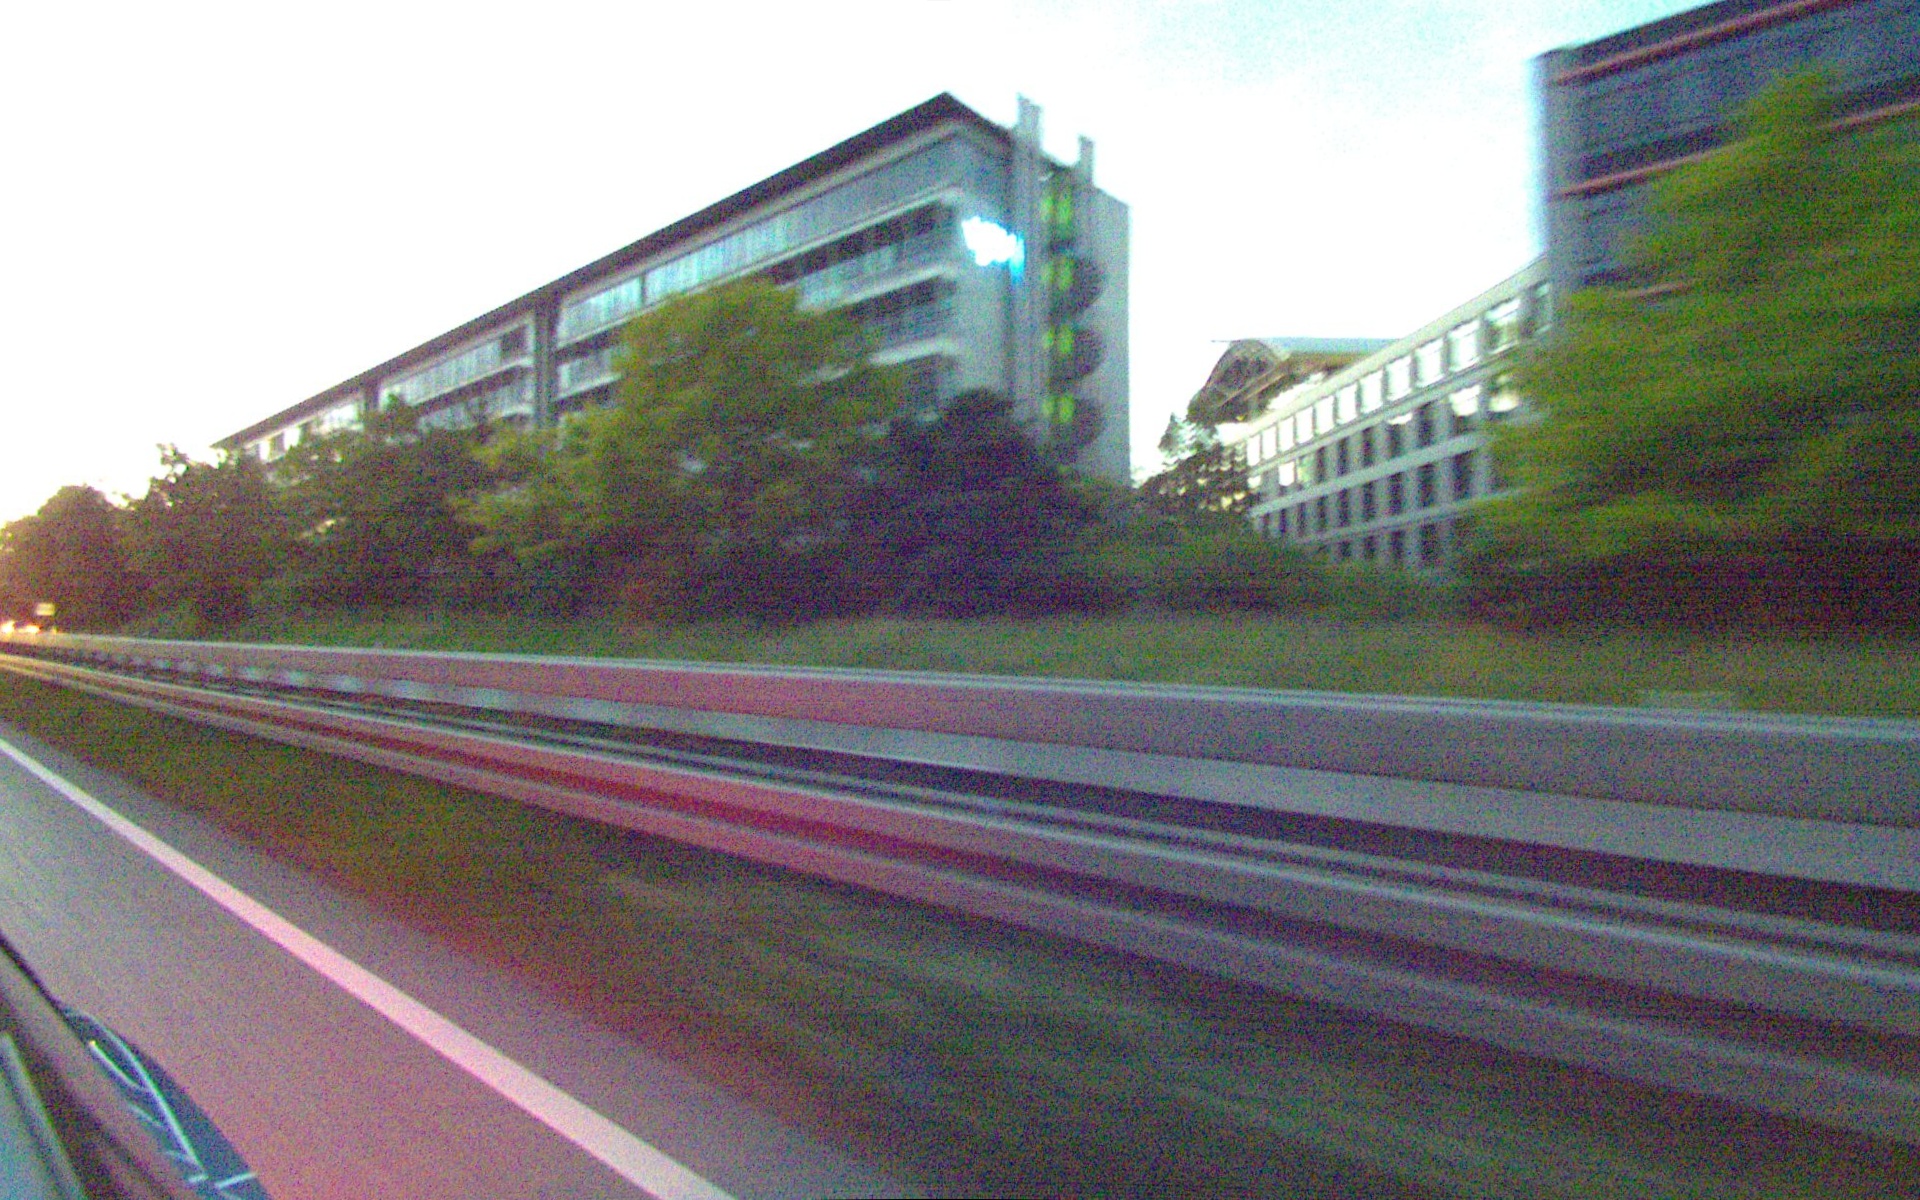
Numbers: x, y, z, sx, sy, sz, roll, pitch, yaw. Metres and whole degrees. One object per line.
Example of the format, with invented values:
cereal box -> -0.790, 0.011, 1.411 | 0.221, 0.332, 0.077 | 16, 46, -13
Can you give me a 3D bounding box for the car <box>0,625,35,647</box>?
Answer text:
car -> -63.467, 2.400, 67.890 | 3.570, 1.391, 1.671 | -1, -2, 41
